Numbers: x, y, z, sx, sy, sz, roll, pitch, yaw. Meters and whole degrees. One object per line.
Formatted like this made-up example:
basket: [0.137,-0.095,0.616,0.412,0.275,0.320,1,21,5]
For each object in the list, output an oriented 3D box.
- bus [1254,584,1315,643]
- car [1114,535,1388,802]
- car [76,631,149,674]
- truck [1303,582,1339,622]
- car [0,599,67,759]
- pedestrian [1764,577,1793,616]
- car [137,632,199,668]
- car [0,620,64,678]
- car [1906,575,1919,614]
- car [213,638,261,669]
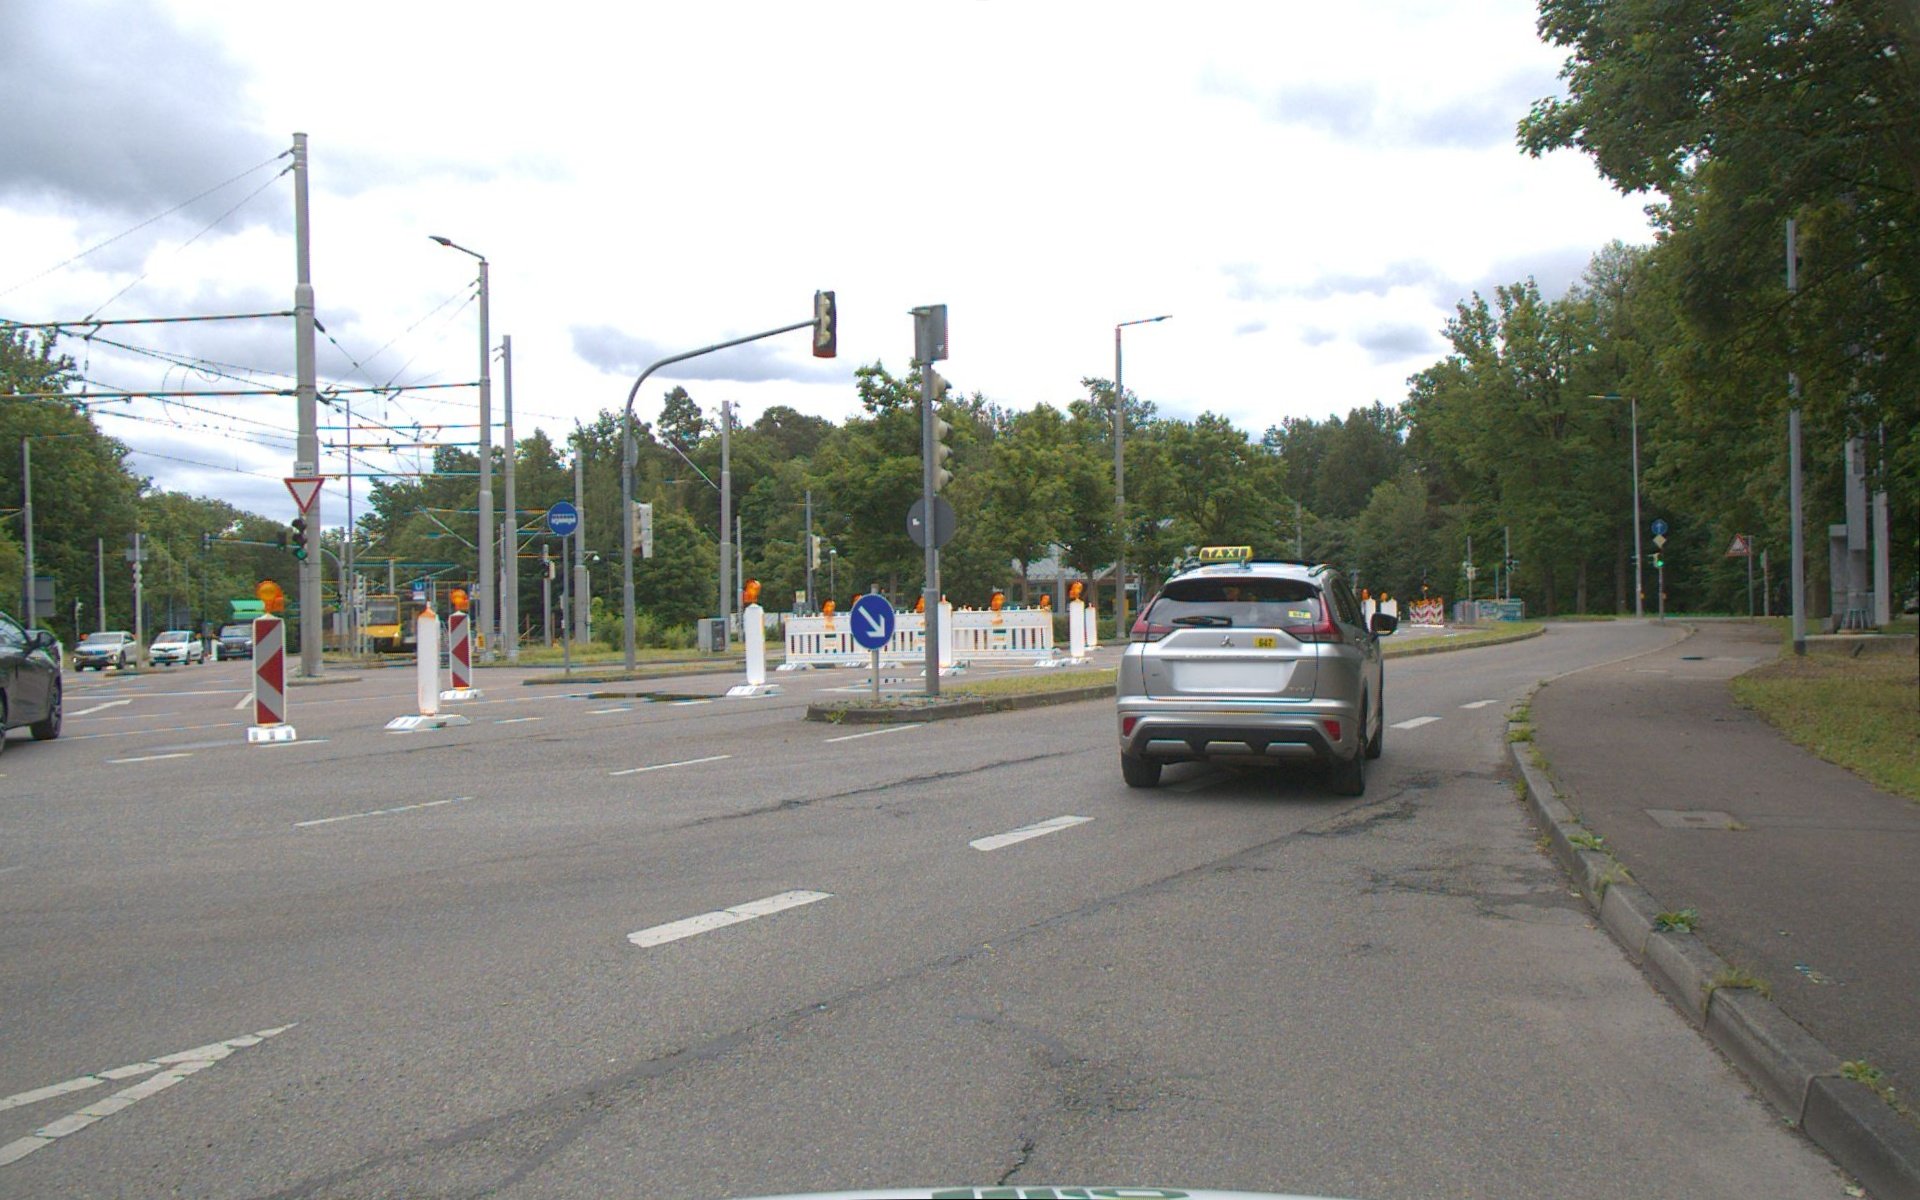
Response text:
bus: [21.797,0.885,111.675,2.762,3.666,12.812,-1,0,6]
car: [2.431,0.496,13.084,1.736,1.779,3.782,0,-1,16]
car: [-34.869,2.136,68.162,1.931,1.635,4.289,-1,-1,-17]
truck: [31.818,0.253,145.807,2.431,3.344,8.526,-2,-1,9]
car: [-9.691,0.760,15.609,1.749,1.385,3.454,-2,-1,-21]
pedestrian: [32.812,-0.141,66.309,0.828,1.532,0.785,-2,-1,43]
car: [-36.230,2.258,75.773,1.931,1.568,4.374,-1,-1,-17]
car: [-32.039,1.646,56.162,1.931,1.877,4.666,-1,-1,-17]
car: [40.522,-0.253,68.146,1.808,1.563,3.974,-2,-1,43]
car: [-40.137,2.943,91.856,1.931,1.567,4.289,-1,-1,-17]
